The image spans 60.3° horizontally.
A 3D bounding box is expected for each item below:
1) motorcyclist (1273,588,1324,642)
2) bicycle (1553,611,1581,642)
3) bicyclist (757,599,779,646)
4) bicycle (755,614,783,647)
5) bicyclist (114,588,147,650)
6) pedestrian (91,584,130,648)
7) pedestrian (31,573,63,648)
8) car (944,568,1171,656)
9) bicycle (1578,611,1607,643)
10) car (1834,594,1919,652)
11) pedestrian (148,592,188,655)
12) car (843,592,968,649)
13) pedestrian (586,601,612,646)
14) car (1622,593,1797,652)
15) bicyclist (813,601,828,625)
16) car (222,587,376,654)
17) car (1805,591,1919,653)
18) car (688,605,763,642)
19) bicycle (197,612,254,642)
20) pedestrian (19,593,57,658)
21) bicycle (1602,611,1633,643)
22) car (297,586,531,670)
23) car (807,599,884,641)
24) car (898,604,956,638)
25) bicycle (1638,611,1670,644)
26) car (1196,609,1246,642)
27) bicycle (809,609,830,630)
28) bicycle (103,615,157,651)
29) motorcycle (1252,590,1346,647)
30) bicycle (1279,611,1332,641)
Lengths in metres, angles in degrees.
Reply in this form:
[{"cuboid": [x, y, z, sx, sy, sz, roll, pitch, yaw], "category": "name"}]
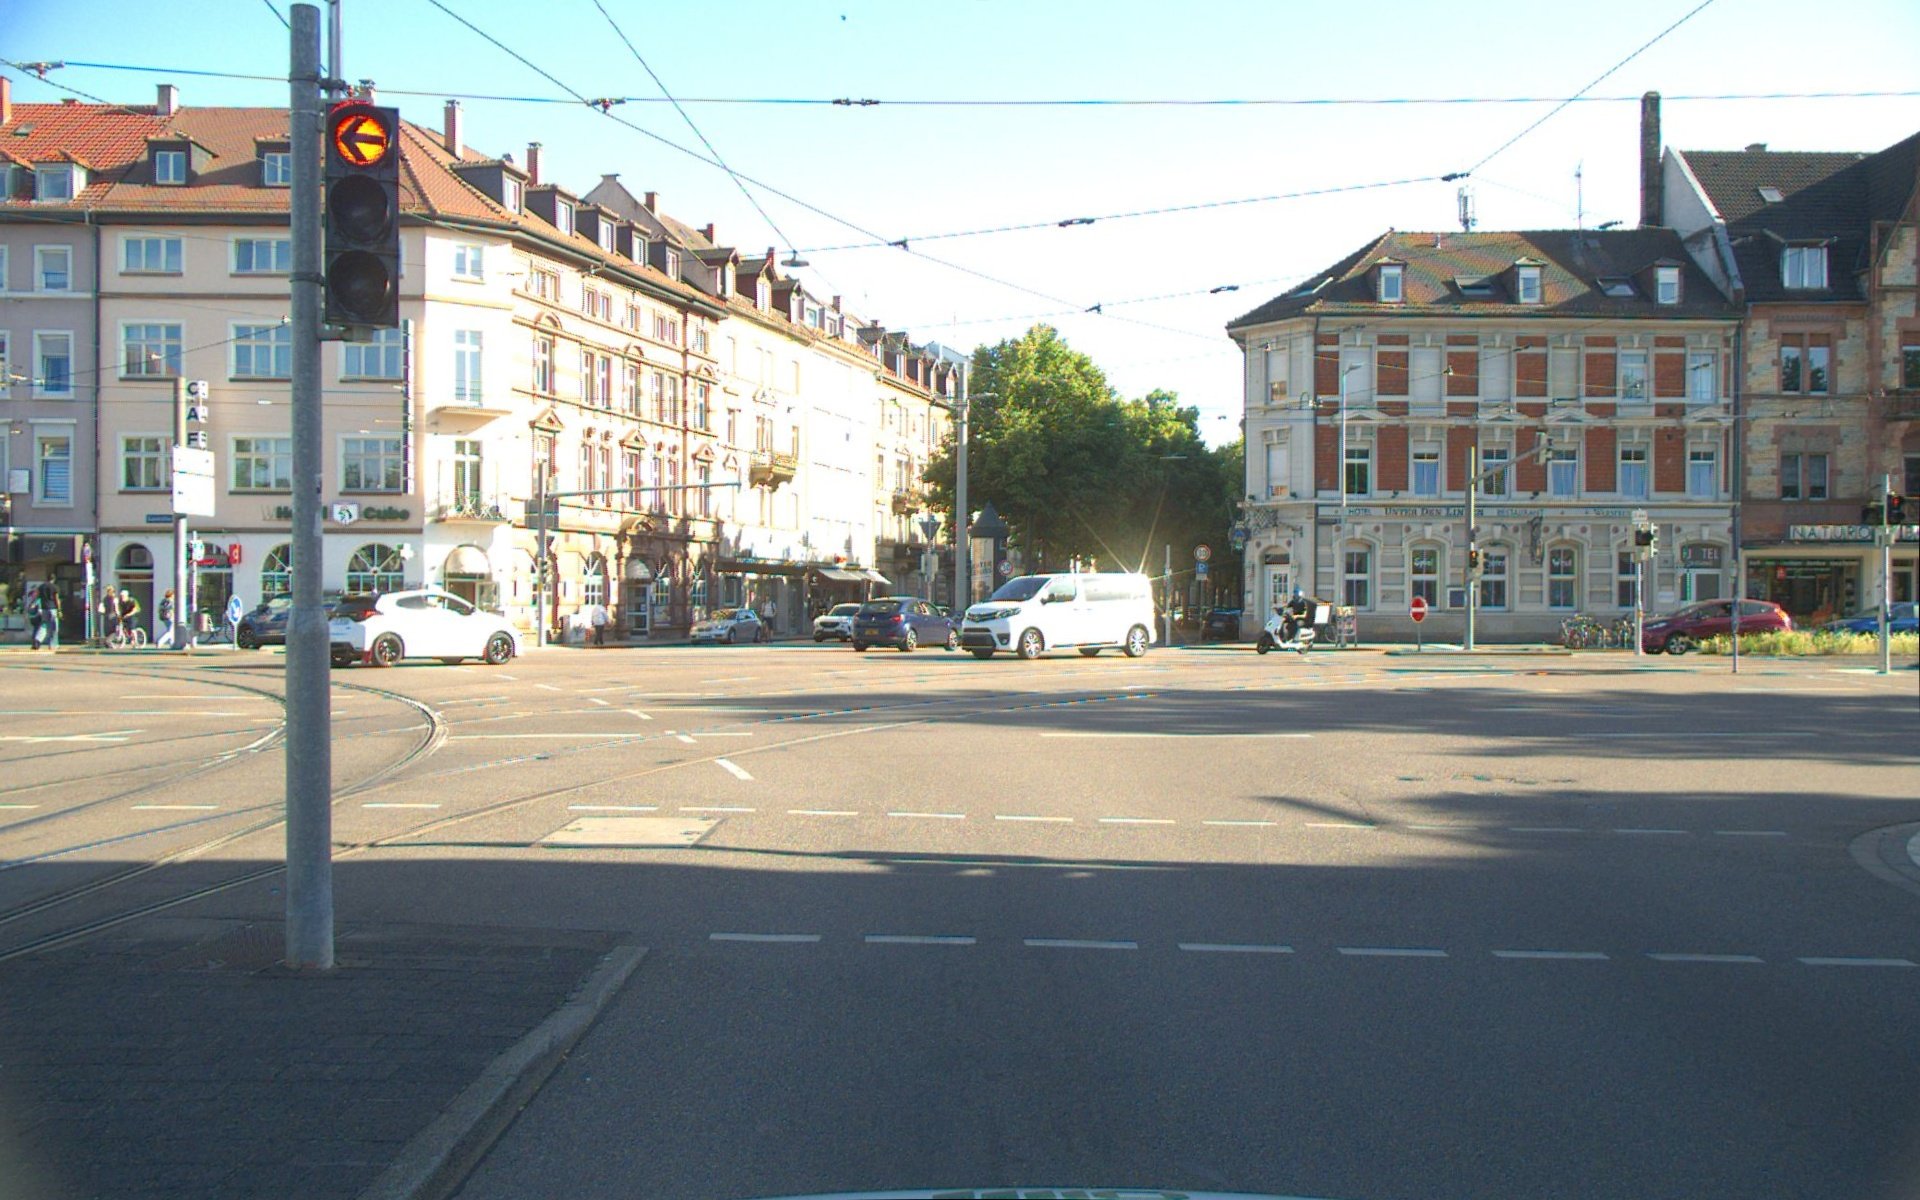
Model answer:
[{"cuboid": [8.337, 0.367, 40.708, 0.996, 1.323, 0.787, 1, 0, -12], "category": "motorcyclist"}, {"cuboid": [19.812, 0.853, 54.035, 0.749, 0.979, 2.211, 1, 0, 17], "category": "bicycle"}, {"cuboid": [-7.550, 0.875, 64.987, 0.553, 1.835, 0.915, 1, -1, 14], "category": "bicyclist"}, {"cuboid": [-7.518, 1.179, 65.101, 0.553, 1.276, 1.558, 1, 0, 14], "category": "bicycle"}, {"cuboid": [-24.893, 0.571, 49.637, 0.608, 1.822, 0.615, 1, -1, 4], "category": "bicyclist"}, {"cuboid": [-22.618, 0.415, 44.033, 0.571, 1.677, 0.840, 1, -1, -1], "category": "pedestrian"}, {"cuboid": [-22.810, 0.251, 41.345, 0.518, 1.854, 0.674, 1, -1, -16], "category": "pedestrian"}, {"cuboid": [2.270, 0.253, 37.694, 5.160, 1.886, 1.974, 0, 0, -37], "category": "car"}, {"cuboid": [20.566, 0.865, 53.798, 0.749, 0.985, 2.211, 1, 0, 17], "category": "bicycle"}, {"cuboid": [28.286, 0.684, 48.956, 3.905, 1.650, 1.804, 1, 0, 0], "category": "car"}, {"cuboid": [-21.024, 0.620, 43.904, 0.655, 1.622, 0.815, 1, -1, -1], "category": "pedestrian"}, {"cuboid": [-1.387, 0.519, 44.064, 1.789, 1.428, 3.998, 0, 0, 24], "category": "car"}, {"cuboid": [-13.452, 0.870, 61.592, 0.556, 1.671, 0.792, 1, -1, 22], "category": "pedestrian"}, {"cuboid": [19.355, 0.572, 42.793, 3.790, 1.451, 1.595, 1, 1, -1], "category": "car"}, {"cuboid": [-6.147, 0.562, 72.841, 0.462, 1.058, 0.538, 1, -1, 14], "category": "bicyclist"}, {"cuboid": [-16.995, 0.492, 42.464, 4.117, 1.602, 1.823, 1, 0, 38], "category": "car"}, {"cuboid": [25.923, 0.631, 46.030, 3.905, 1.650, 1.804, 1, 0, 0], "category": "car"}, {"cuboid": [-9.454, 0.945, 66.900, 1.624, 1.398, 3.894, 1, 0, 14], "category": "car"}, {"cuboid": [-25.092, 0.913, 56.506, 1.666, 1.000, 0.611, 1, 0, -1], "category": "bicycle"}, {"cuboid": [-24.067, 0.653, 43.195, 0.561, 1.677, 0.727, 1, -1, -1], "category": "pedestrian"}, {"cuboid": [21.345, 0.878, 53.705, 0.749, 1.001, 2.211, 1, 0, 17], "category": "bicycle"}, {"cuboid": [-10.534, 0.499, 32.126, 1.860, 1.479, 3.994, 0, 1, 36], "category": "car"}, {"cuboid": [-4.611, 0.802, 67.194, 1.764, 1.613, 4.162, 1, 0, 16], "category": "car"}, {"cuboid": [-1.548, 0.998, 79.505, 1.764, 1.603, 3.893, 1, 0, 15], "category": "car"}, {"cuboid": [22.386, 0.882, 53.385, 0.749, 1.025, 2.221, 1, 0, 17], "category": "bicycle"}, {"cuboid": [13.073, 1.267, 82.702, 1.719, 1.583, 4.001, 1, 0, 20], "category": "car"}, {"cuboid": [-6.176, 0.860, 72.726, 0.462, 0.938, 1.453, 1, 0, 14], "category": "bicycle"}, {"cuboid": [-24.902, 0.970, 49.630, 0.608, 1.048, 1.755, 1, 0, 4], "category": "bicycle"}, {"cuboid": [8.329, 0.456, 40.668, 2.097, 1.357, 0.794, 1, 0, -12], "category": "motorcycle"}, {"cuboid": [11.983, 0.900, 57.288, 1.764, 0.979, 0.604, 1, 0, 14], "category": "bicycle"}]
